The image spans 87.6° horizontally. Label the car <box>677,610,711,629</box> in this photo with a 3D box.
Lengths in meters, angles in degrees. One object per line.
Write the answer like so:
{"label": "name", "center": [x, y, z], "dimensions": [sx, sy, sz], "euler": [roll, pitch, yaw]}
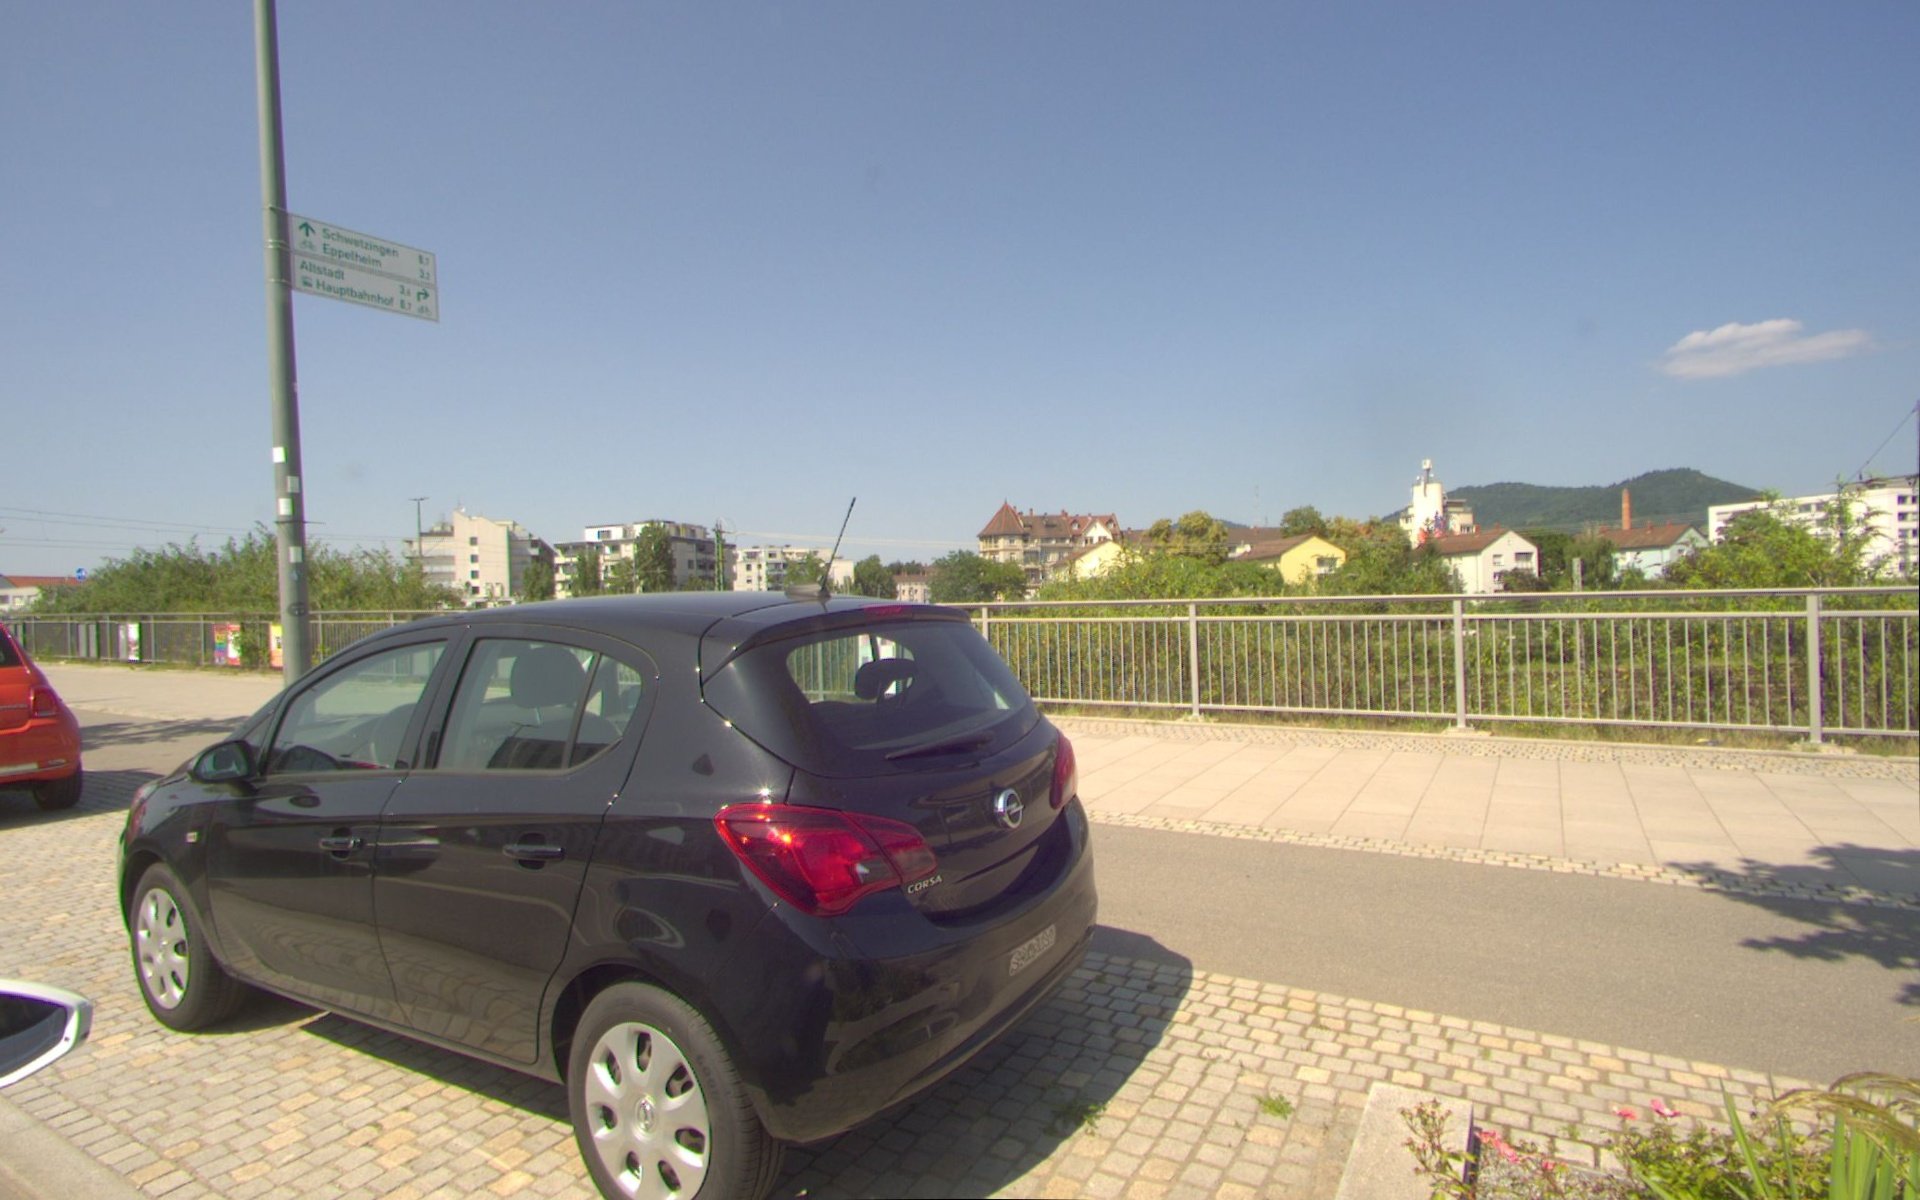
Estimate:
{"label": "car", "center": [-30.190, 2.283, 113.859], "dimensions": [1.964, 2.039, 3.997], "euler": [-1, -2, 16]}

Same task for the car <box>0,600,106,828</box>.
{"label": "car", "center": [-8.359, 0.808, 7.776], "dimensions": [3.863, 1.561, 1.664], "euler": [0, 2, 35]}

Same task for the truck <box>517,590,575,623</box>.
{"label": "truck", "center": [-34.901, 0.609, 84.585], "dimensions": [1.964, 2.572, 4.704], "euler": [-1, -2, 17]}

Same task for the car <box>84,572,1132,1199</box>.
{"label": "car", "center": [-1.343, 0.744, 3.503], "dimensions": [3.495, 1.577, 1.577], "euler": [-1, 2, 32]}

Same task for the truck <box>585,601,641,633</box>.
{"label": "truck", "center": [-34.119, 1.707, 98.596], "dimensions": [2.081, 2.919, 5.866], "euler": [-1, -2, 19]}

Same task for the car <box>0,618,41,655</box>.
{"label": "car", "center": [-44.833, 1.675, 45.740], "dimensions": [1.824, 1.649, 3.824], "euler": [-1, -2, 18]}

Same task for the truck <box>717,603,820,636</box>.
{"label": "truck", "center": [-21.351, 2.360, 113.679], "dimensions": [3.674, 3.243, 17.876], "euler": [-1, -3, 17]}

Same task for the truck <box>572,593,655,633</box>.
{"label": "truck", "center": [-29.508, 1.187, 85.639], "dimensions": [3.672, 3.244, 6.485], "euler": [-1, -2, 17]}

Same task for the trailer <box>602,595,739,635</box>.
{"label": "trailer", "center": [-26.849, 1.556, 94.561], "dimensions": [3.674, 3.243, 17.244], "euler": [-1, -3, 17]}
